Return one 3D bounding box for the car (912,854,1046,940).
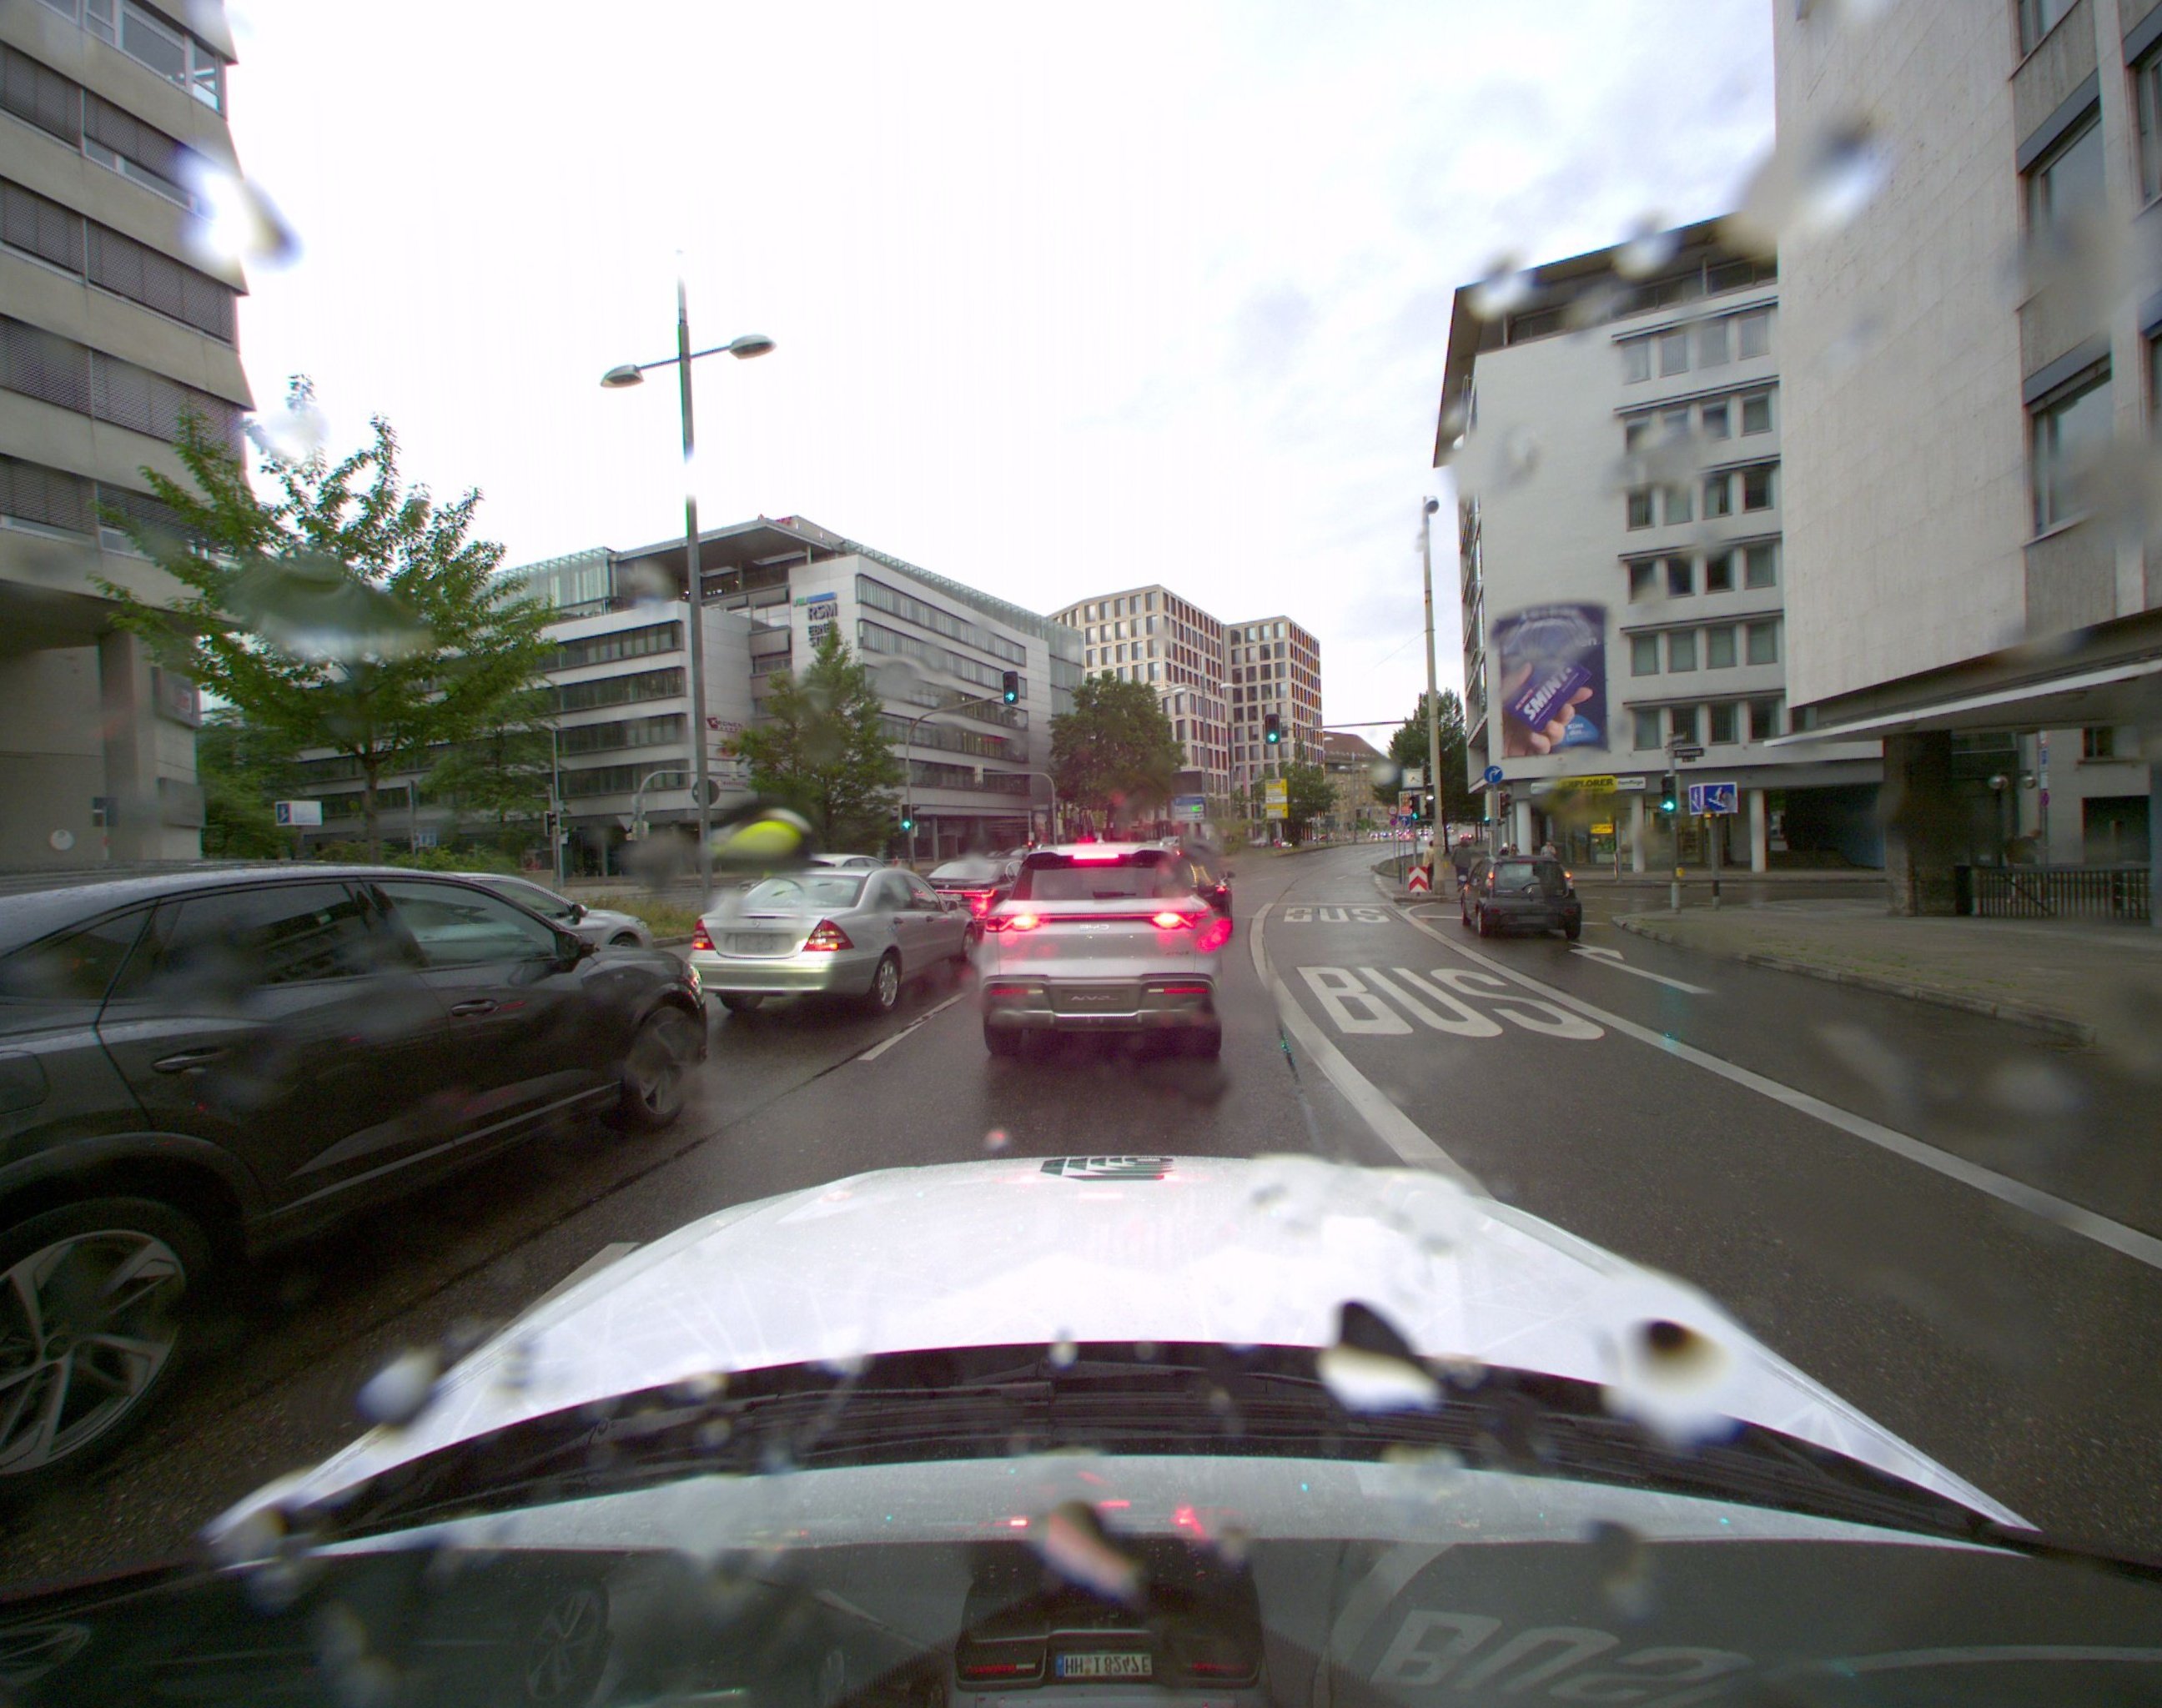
[{"bbox_3d":[-1.862,0.768,16.134,1.561,1.486,4.010,-1,-1,9],"label":"car"}]

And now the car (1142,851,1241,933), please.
[{"bbox_3d":[2.395,0.707,16.848,1.682,1.486,4.013,-1,-1,12],"label":"car"}]

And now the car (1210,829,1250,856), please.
[{"bbox_3d":[11.927,-0.878,65.033,1.975,2.014,4.876,-1,-1,25],"label":"car"}]

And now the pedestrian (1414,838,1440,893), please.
[{"bbox_3d":[11.539,0.364,27.144,0.742,1.798,0.821,-1,1,22],"label":"pedestrian"}]

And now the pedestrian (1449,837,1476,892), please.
[{"bbox_3d":[12.655,0.339,27.043,0.742,1.798,0.821,-1,1,22],"label":"pedestrian"}]

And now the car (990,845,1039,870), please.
[{"bbox_3d":[-4.316,0.189,53.457,1.630,1.536,4.172,-1,0,19],"label":"car"}]

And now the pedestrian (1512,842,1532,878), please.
[{"bbox_3d":[19.528,0.255,36.074,0.657,1.543,0.618,-1,0,-45],"label":"pedestrian"}]

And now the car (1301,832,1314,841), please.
[{"bbox_3d":[45.236,-3.533,162.715,1.590,1.741,3.467,-1,-1,34],"label":"car"}]

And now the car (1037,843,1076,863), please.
[{"bbox_3d":[-1.944,-0.053,65.979,1.623,1.571,3.739,-1,-1,24],"label":"car"}]

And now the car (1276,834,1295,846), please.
[{"bbox_3d":[26.616,-1.840,105.749,1.616,1.437,3.931,-1,1,25],"label":"car"}]

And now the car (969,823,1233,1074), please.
[{"bbox_3d":[0.267,0.658,7.497,1.768,1.679,4.004,-1,-1,4],"label":"car"}]

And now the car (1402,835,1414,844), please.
[{"bbox_3d":[60.561,-2.750,150.893,1.871,1.643,4.023,-1,0,24],"label":"car"}]

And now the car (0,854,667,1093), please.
[{"bbox_3d":[-6.248,0.790,7.767,1.857,1.533,4.783,-1,0,4],"label":"car"}]

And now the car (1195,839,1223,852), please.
[{"bbox_3d":[15.216,-1.035,96.912,1.974,1.488,4.025,-1,1,29],"label":"car"}]

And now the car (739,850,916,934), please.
[{"bbox_3d":[-4.963,0.702,16.553,1.696,1.486,4.013,-1,-1,11],"label":"car"}]

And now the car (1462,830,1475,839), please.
[{"bbox_3d":[70.808,-3.544,148.922,1.677,1.486,4.025,-1,-1,32],"label":"car"}]

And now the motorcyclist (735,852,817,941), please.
[{"bbox_3d":[-4.905,0.661,13.164,0.765,1.380,1.122,-1,-1,11],"label":"motorcyclist"}]

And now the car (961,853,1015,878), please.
[{"bbox_3d":[-6.372,0.772,56.305,1.976,1.610,4.022,1,1,22],"label":"car"}]

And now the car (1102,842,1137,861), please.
[{"bbox_3d":[3.326,-0.205,69.349,1.629,1.581,4.109,-1,0,24],"label":"car"}]

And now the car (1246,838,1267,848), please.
[{"bbox_3d":[26.440,-1.662,122.356,1.974,1.488,4.025,-1,1,29],"label":"car"}]

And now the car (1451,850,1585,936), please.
[{"bbox_3d":[8.206,0.664,15.628,1.558,1.429,4.018,-1,-1,18],"label":"car"}]

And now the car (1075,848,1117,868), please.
[{"bbox_3d":[1.108,0.304,57.674,1.675,1.385,3.888,-1,-1,21],"label":"car"}]

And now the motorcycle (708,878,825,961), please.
[{"bbox_3d":[-4.982,0.997,13.082,0.795,1.185,2.034,-1,-1,11],"label":"motorcycle"}]

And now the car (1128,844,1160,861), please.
[{"bbox_3d":[6.311,-0.147,81.465,1.616,1.559,4.620,-1,1,25],"label":"car"}]

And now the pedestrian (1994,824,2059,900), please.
[{"bbox_3d":[21.994,0.186,18.955,0.764,1.731,0.599,-1,0,16],"label":"pedestrian"}]

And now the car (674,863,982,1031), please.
[{"bbox_3d":[-2.452,0.821,9.054,1.561,1.407,4.120,-1,-1,9],"label":"car"}]

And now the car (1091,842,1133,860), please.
[{"bbox_3d":[2.942,-0.321,75.369,1.796,1.510,5.228,-1,1,27],"label":"car"}]

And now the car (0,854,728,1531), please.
[{"bbox_3d":[-3.234,0.781,3.230,1.642,1.521,4.274,-1,0,2],"label":"car"}]

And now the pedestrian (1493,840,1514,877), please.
[{"bbox_3d":[18.948,0.210,36.496,0.657,1.655,0.662,-1,0,-45],"label":"pedestrian"}]

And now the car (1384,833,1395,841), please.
[{"bbox_3d":[76.175,-4.210,200.827,1.975,2.013,4.025,-1,0,29],"label":"car"}]

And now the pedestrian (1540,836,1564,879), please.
[{"bbox_3d":[19.878,0.143,34.366,0.778,1.794,0.662,-1,0,-45],"label":"pedestrian"}]
